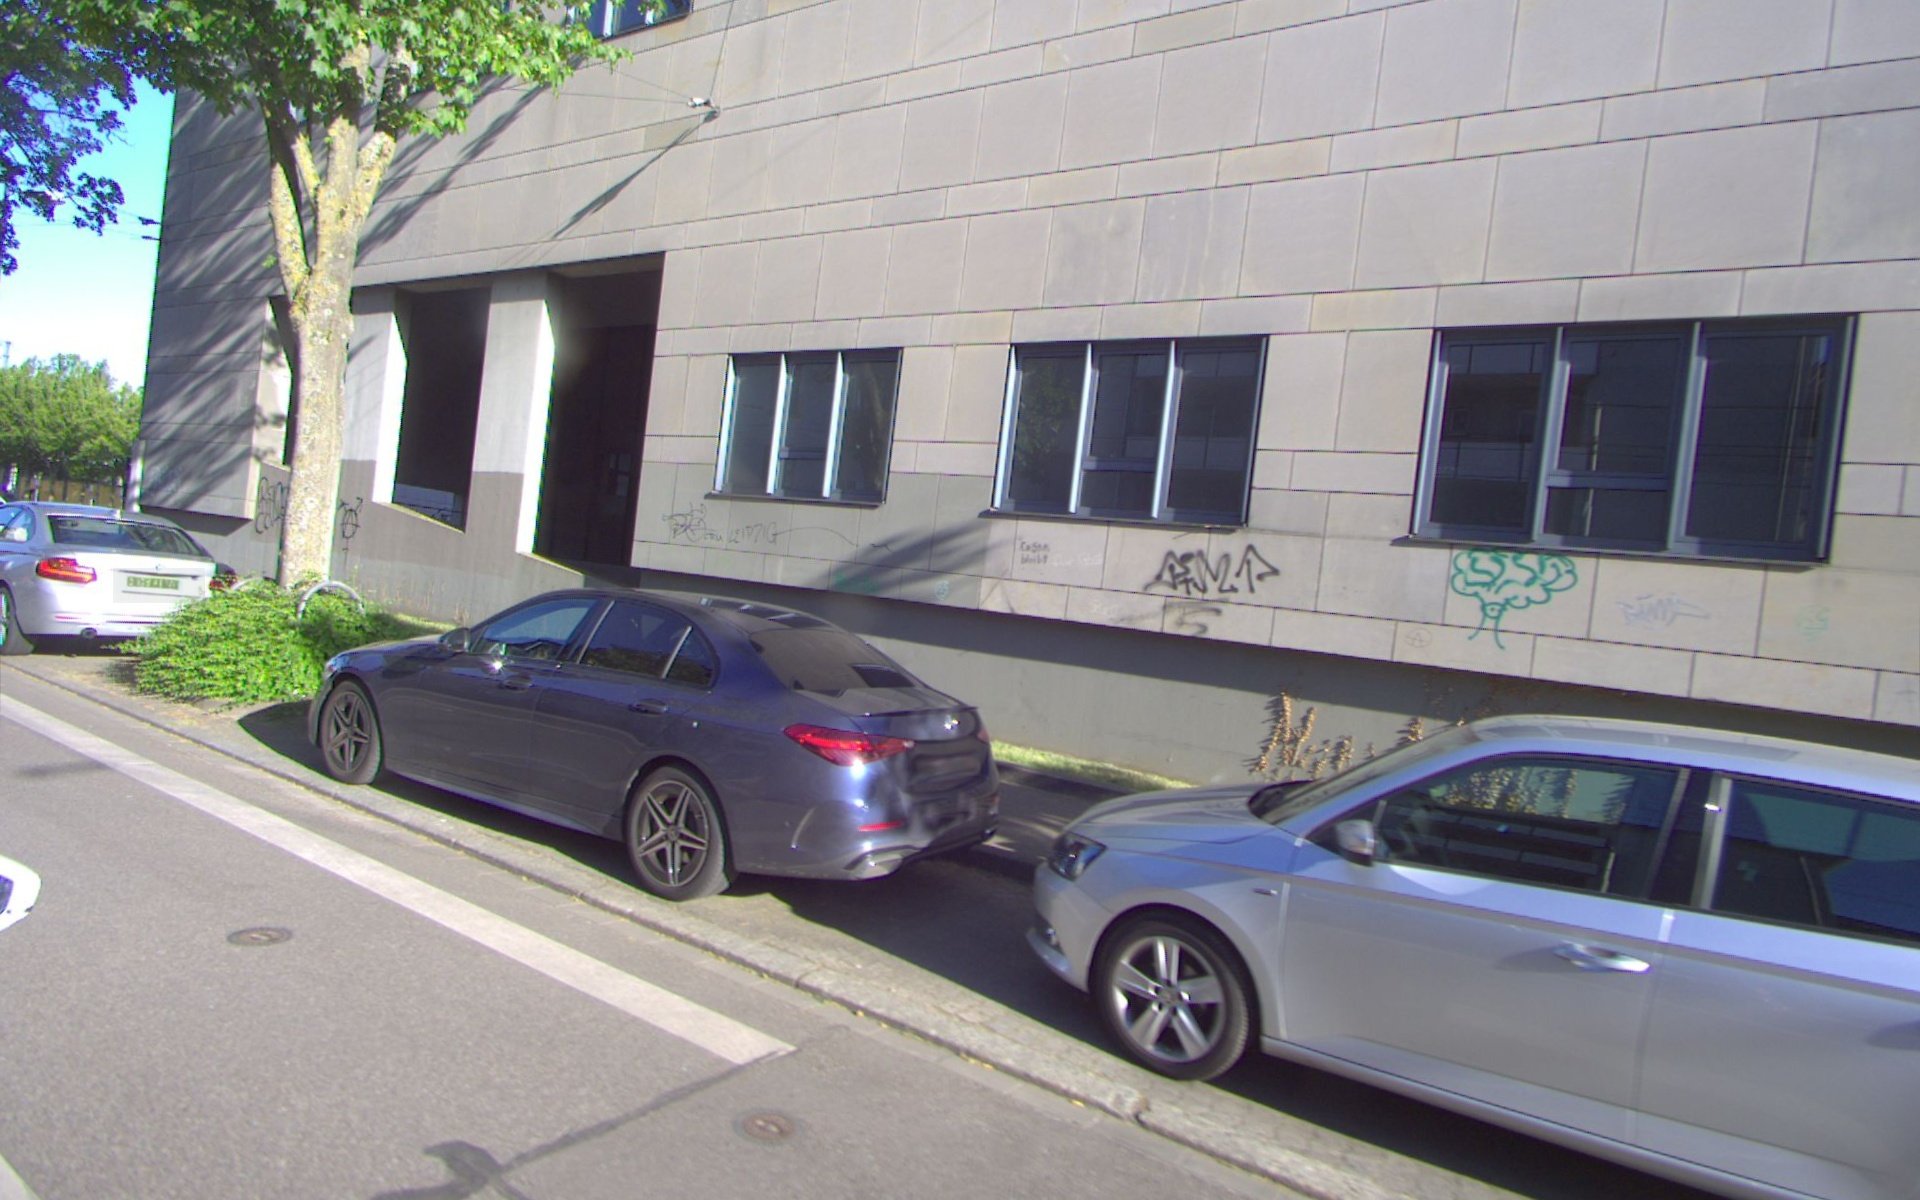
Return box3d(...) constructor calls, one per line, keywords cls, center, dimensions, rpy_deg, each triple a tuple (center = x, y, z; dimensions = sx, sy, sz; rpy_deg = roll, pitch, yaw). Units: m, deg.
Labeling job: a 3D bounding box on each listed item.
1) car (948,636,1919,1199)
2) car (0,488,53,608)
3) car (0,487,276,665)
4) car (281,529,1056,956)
box3d(cls="car", center=(2.076, 1.123, 3.732), dimensions=(3.849, 1.474, 1.643), rpy_deg=(7, 1, 32))
box3d(cls="car", center=(-14.222, -0.913, 13.529), dimensions=(4.541, 1.476, 1.747), rpy_deg=(7, 1, 32))
box3d(cls="car", center=(-9.241, -0.335, 10.533), dimensions=(4.087, 1.482, 1.824), rpy_deg=(7, 0, 31))
box3d(cls="car", center=(-1.936, 0.581, 6.202), dimensions=(4.563, 1.509, 1.842), rpy_deg=(7, 1, 30))
